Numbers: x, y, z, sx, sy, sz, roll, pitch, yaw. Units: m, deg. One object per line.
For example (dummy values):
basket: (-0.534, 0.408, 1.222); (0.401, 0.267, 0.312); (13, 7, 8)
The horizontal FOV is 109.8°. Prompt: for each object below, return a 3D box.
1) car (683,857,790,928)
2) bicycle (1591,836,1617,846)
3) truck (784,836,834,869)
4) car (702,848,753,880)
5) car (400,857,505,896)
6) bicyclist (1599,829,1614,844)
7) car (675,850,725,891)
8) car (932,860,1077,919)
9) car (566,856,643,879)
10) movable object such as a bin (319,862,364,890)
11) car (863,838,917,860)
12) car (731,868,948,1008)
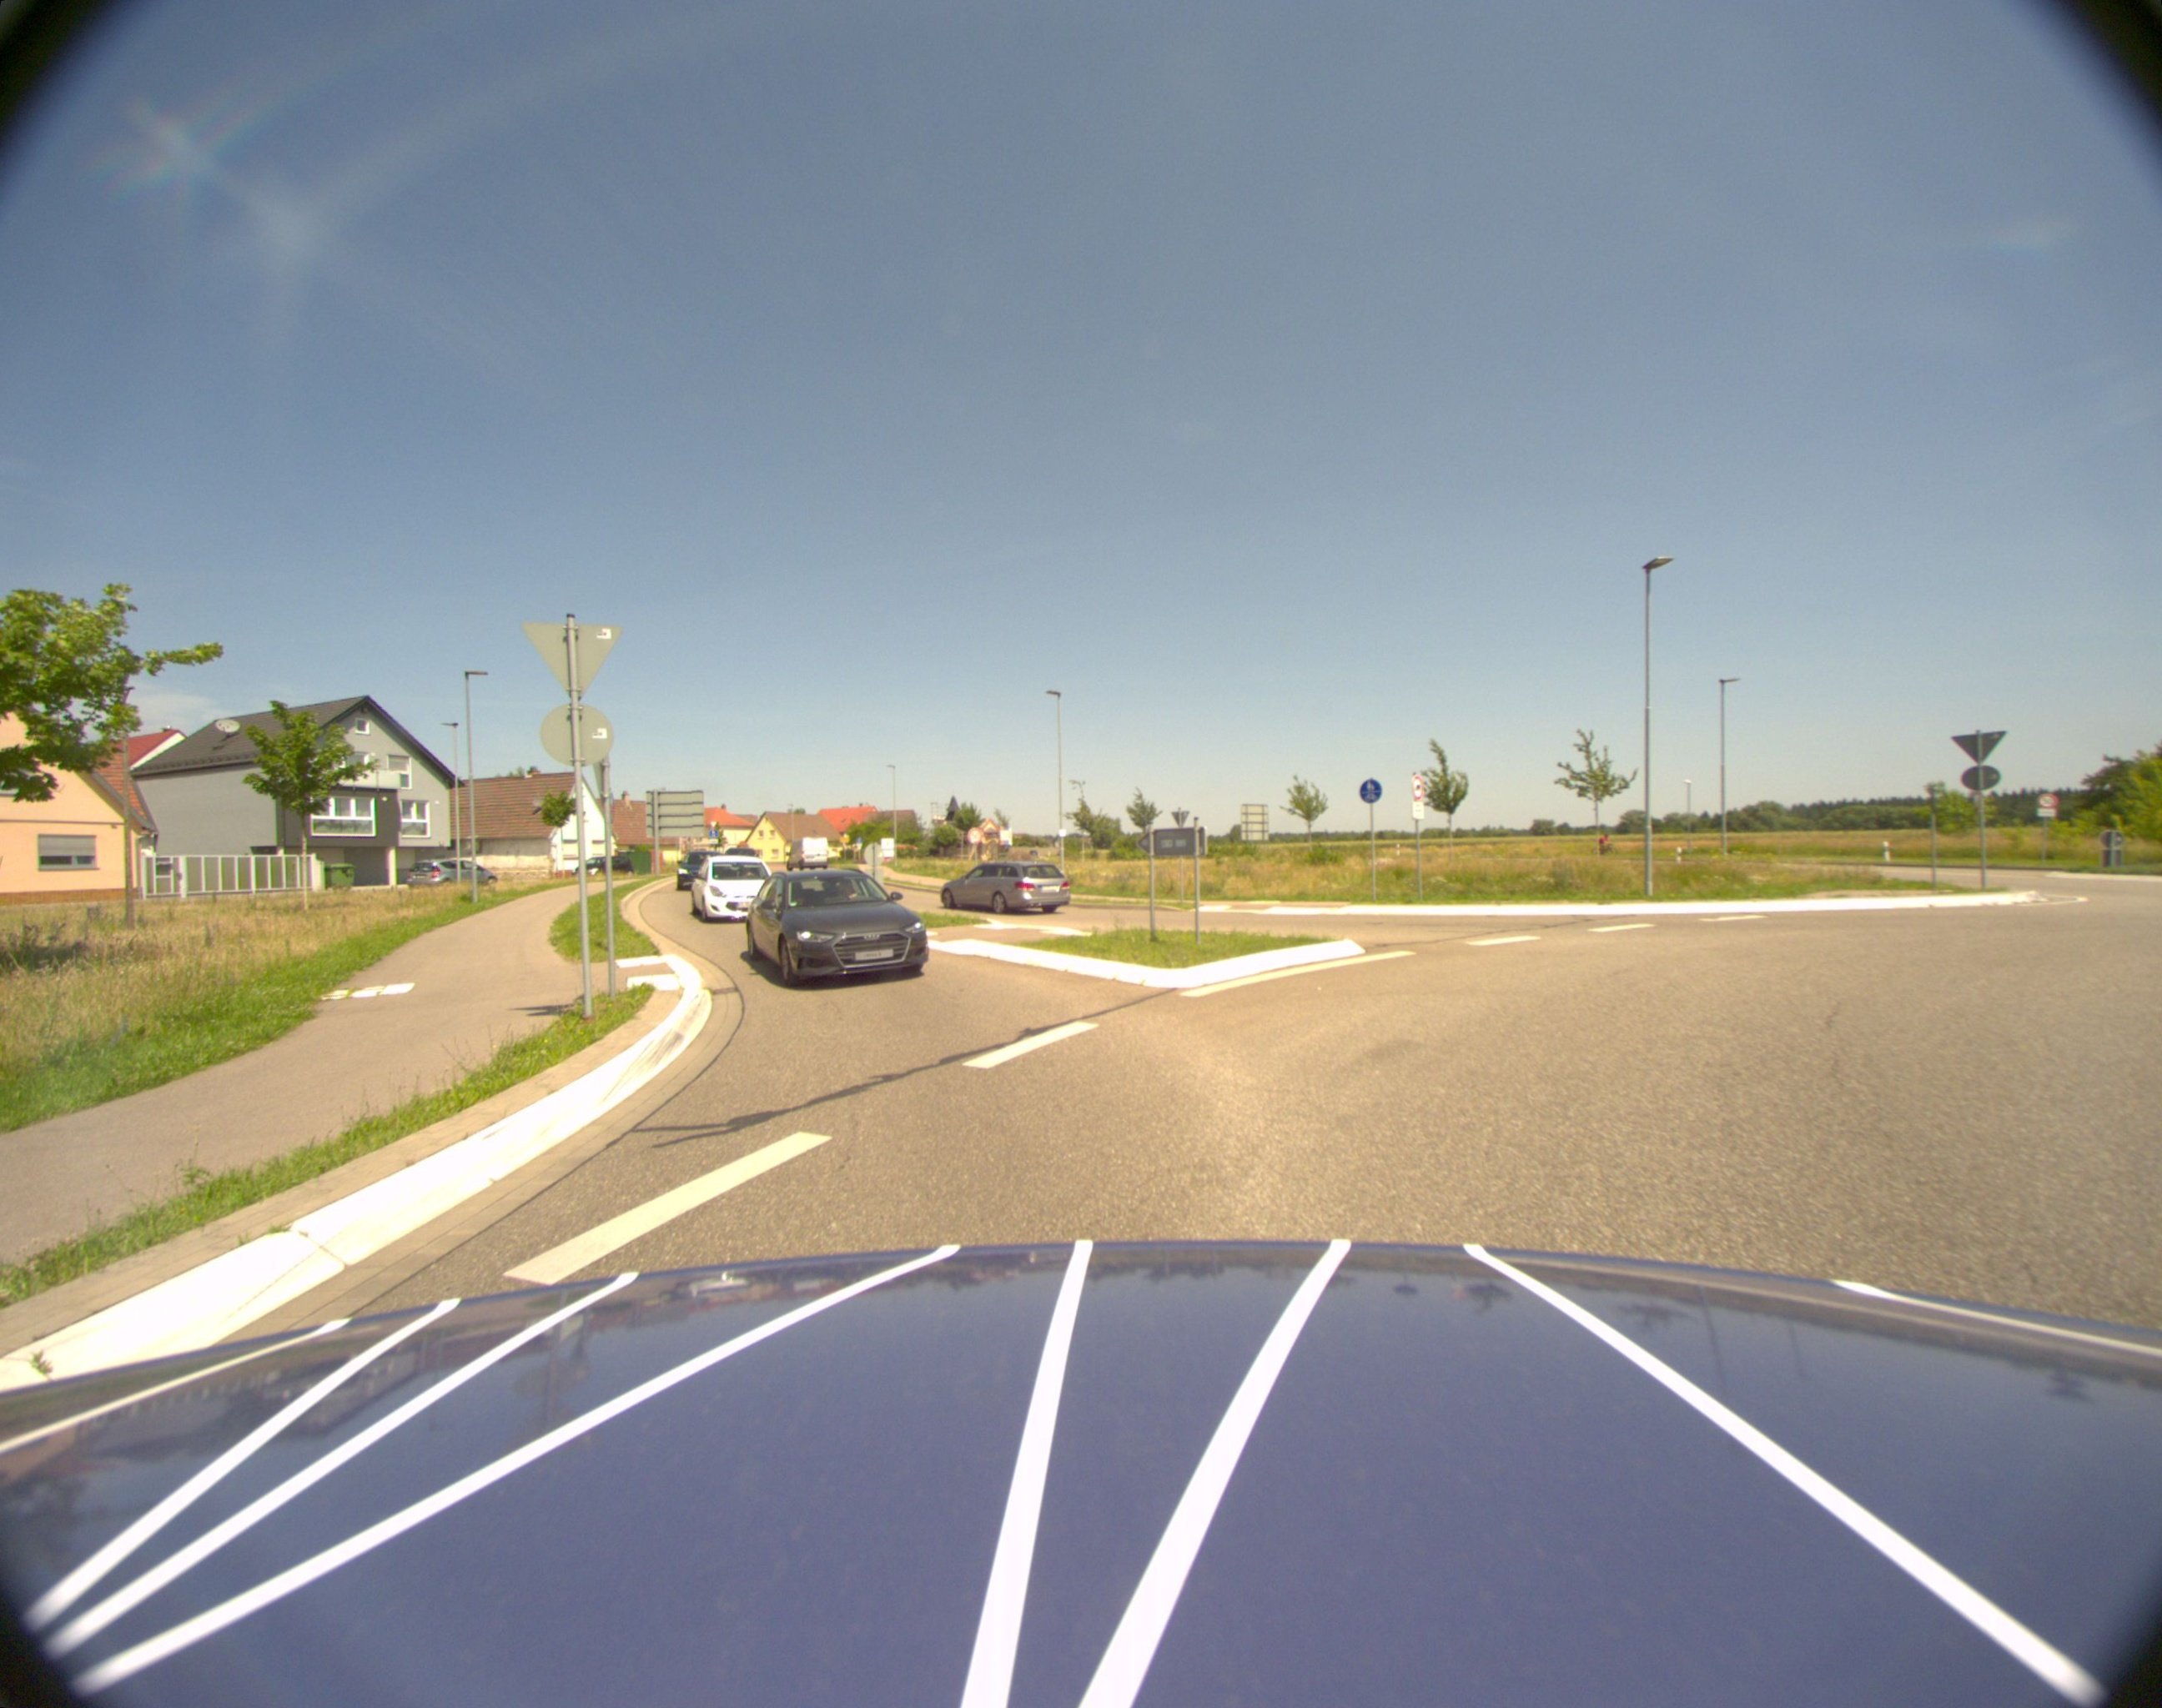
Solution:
car: (-9.139, 0.910, 19.948); (1.872, 1.553, 4.509); (-3, 1, -32)
bicycle: (38.219, -0.952, 55.511); (0.580, 0.725, 1.467); (-2, 1, -28)
truck: (-21.553, -0.134, 60.069); (2.241, 2.492, 5.621); (-2, 1, -35)
car: (-19.291, 0.507, 41.694); (1.871, 1.553, 4.717); (-2, 1, -17)
car: (-31.952, 1.084, 38.797); (1.852, 1.820, 4.001); (-1, 1, 4)
bicyclist: (38.278, -1.276, 55.384); (0.580, 1.073, 0.723); (-2, 1, -28)
car: (-16.001, 0.621, 32.061); (1.724, 1.553, 4.142); (-2, 1, -25)
car: (-2.359, 0.964, 22.239); (1.841, 1.482, 4.854); (-2, 0, -38)
car: (-30.487, 0.819, 48.746); (1.850, 1.343, 3.773); (-1, 1, 21)
movable object such as a bin: (-38.019, 1.122, 39.079); (1.084, 1.381, 1.203); (-1, 1, 7)
car: (-23.601, -0.578, 93.873); (6.123, 2.569, 2.360); (-1, 1, 20)
car: (-3.741, 1.016, 11.147); (1.872, 1.426, 4.509); (-4, 2, -32)
